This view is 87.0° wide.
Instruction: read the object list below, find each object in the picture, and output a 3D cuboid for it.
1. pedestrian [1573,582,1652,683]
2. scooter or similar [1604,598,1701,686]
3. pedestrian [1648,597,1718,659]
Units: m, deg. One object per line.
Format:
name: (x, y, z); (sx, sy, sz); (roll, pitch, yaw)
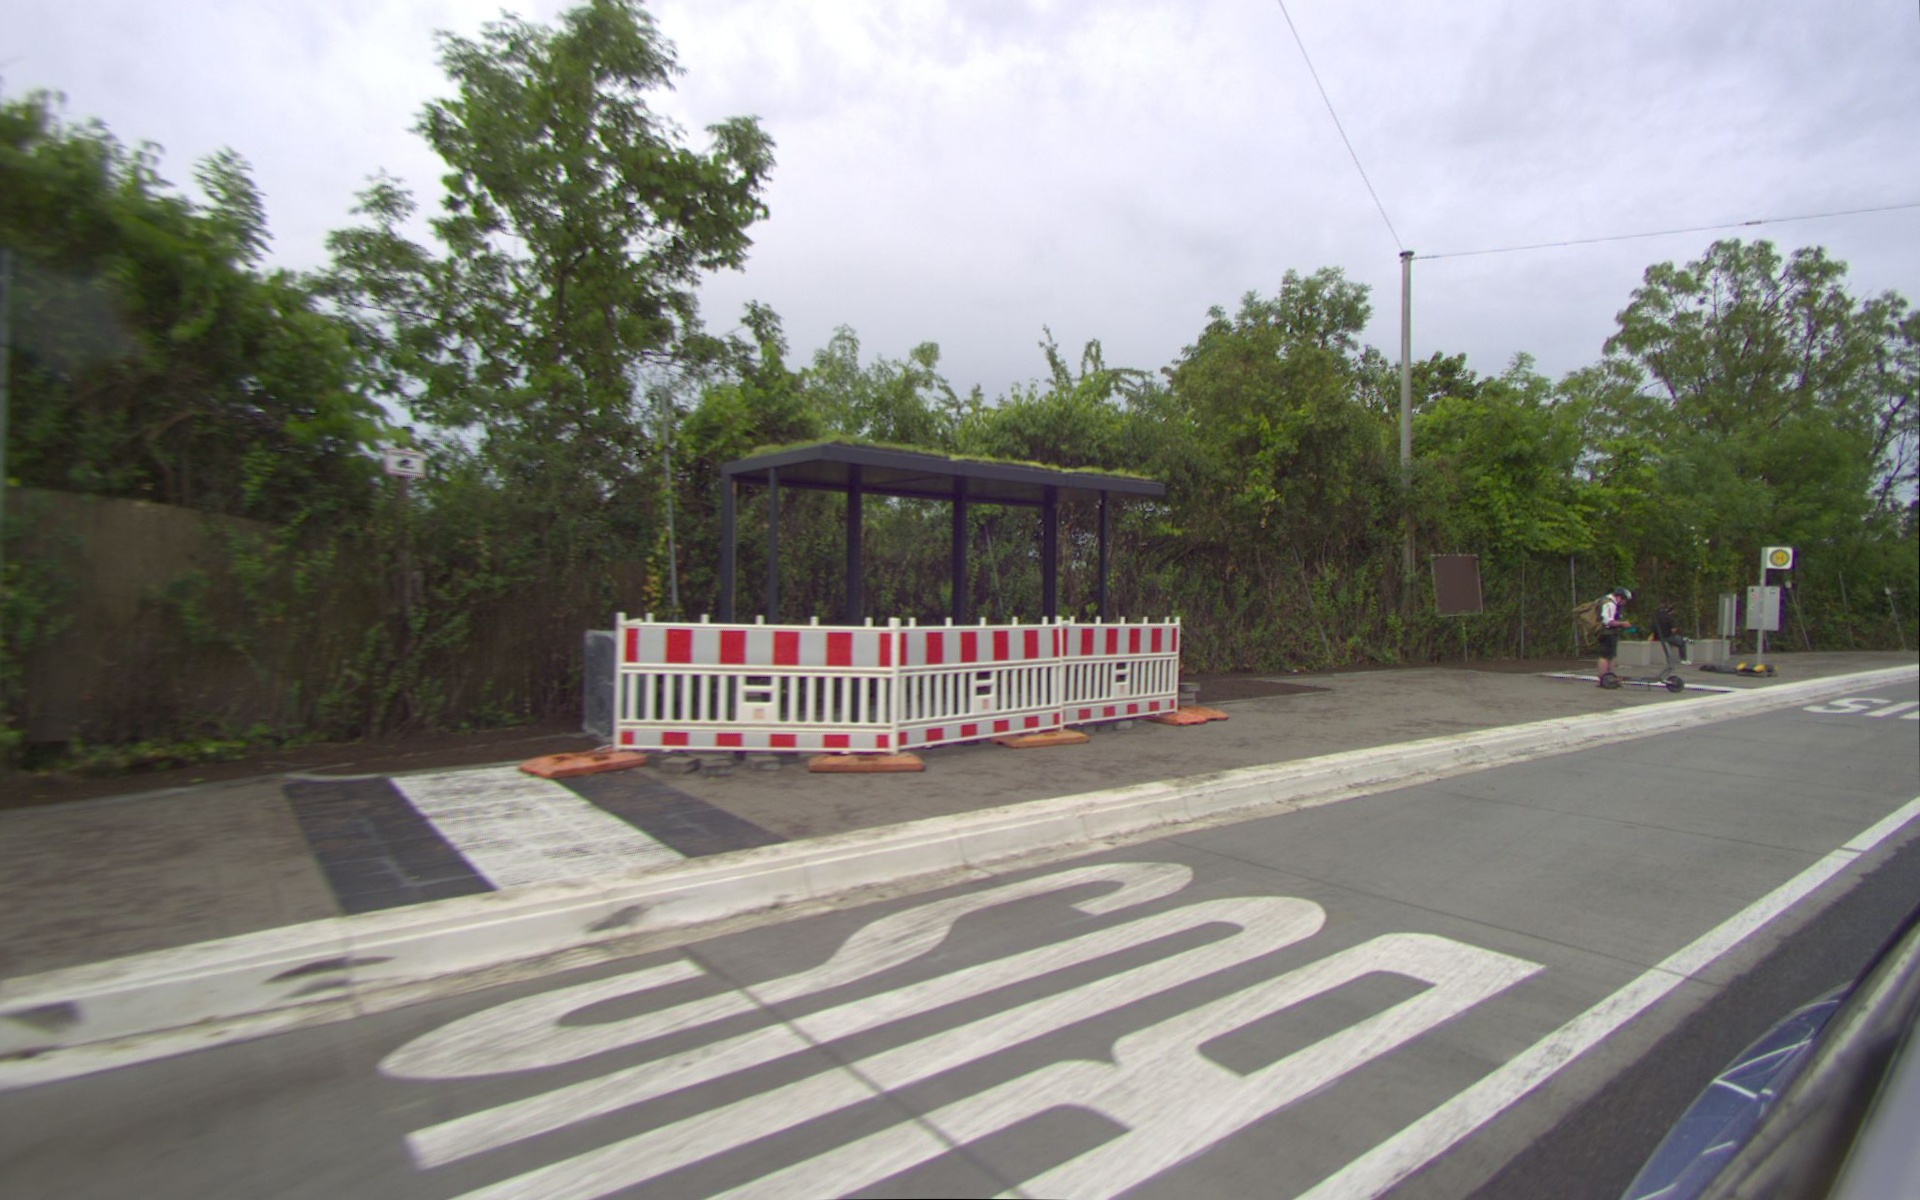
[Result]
pedestrian: (10.364, 0.497, 16.105); (0.908, 1.566, 0.542); (1, 0, 16)
scooter or similar: (10.767, 0.639, 15.741); (1.224, 1.332, 0.231); (1, 0, 13)
pedestrian: (16.343, 0.617, 22.913); (1.053, 1.346, 0.806); (1, 1, 16)
